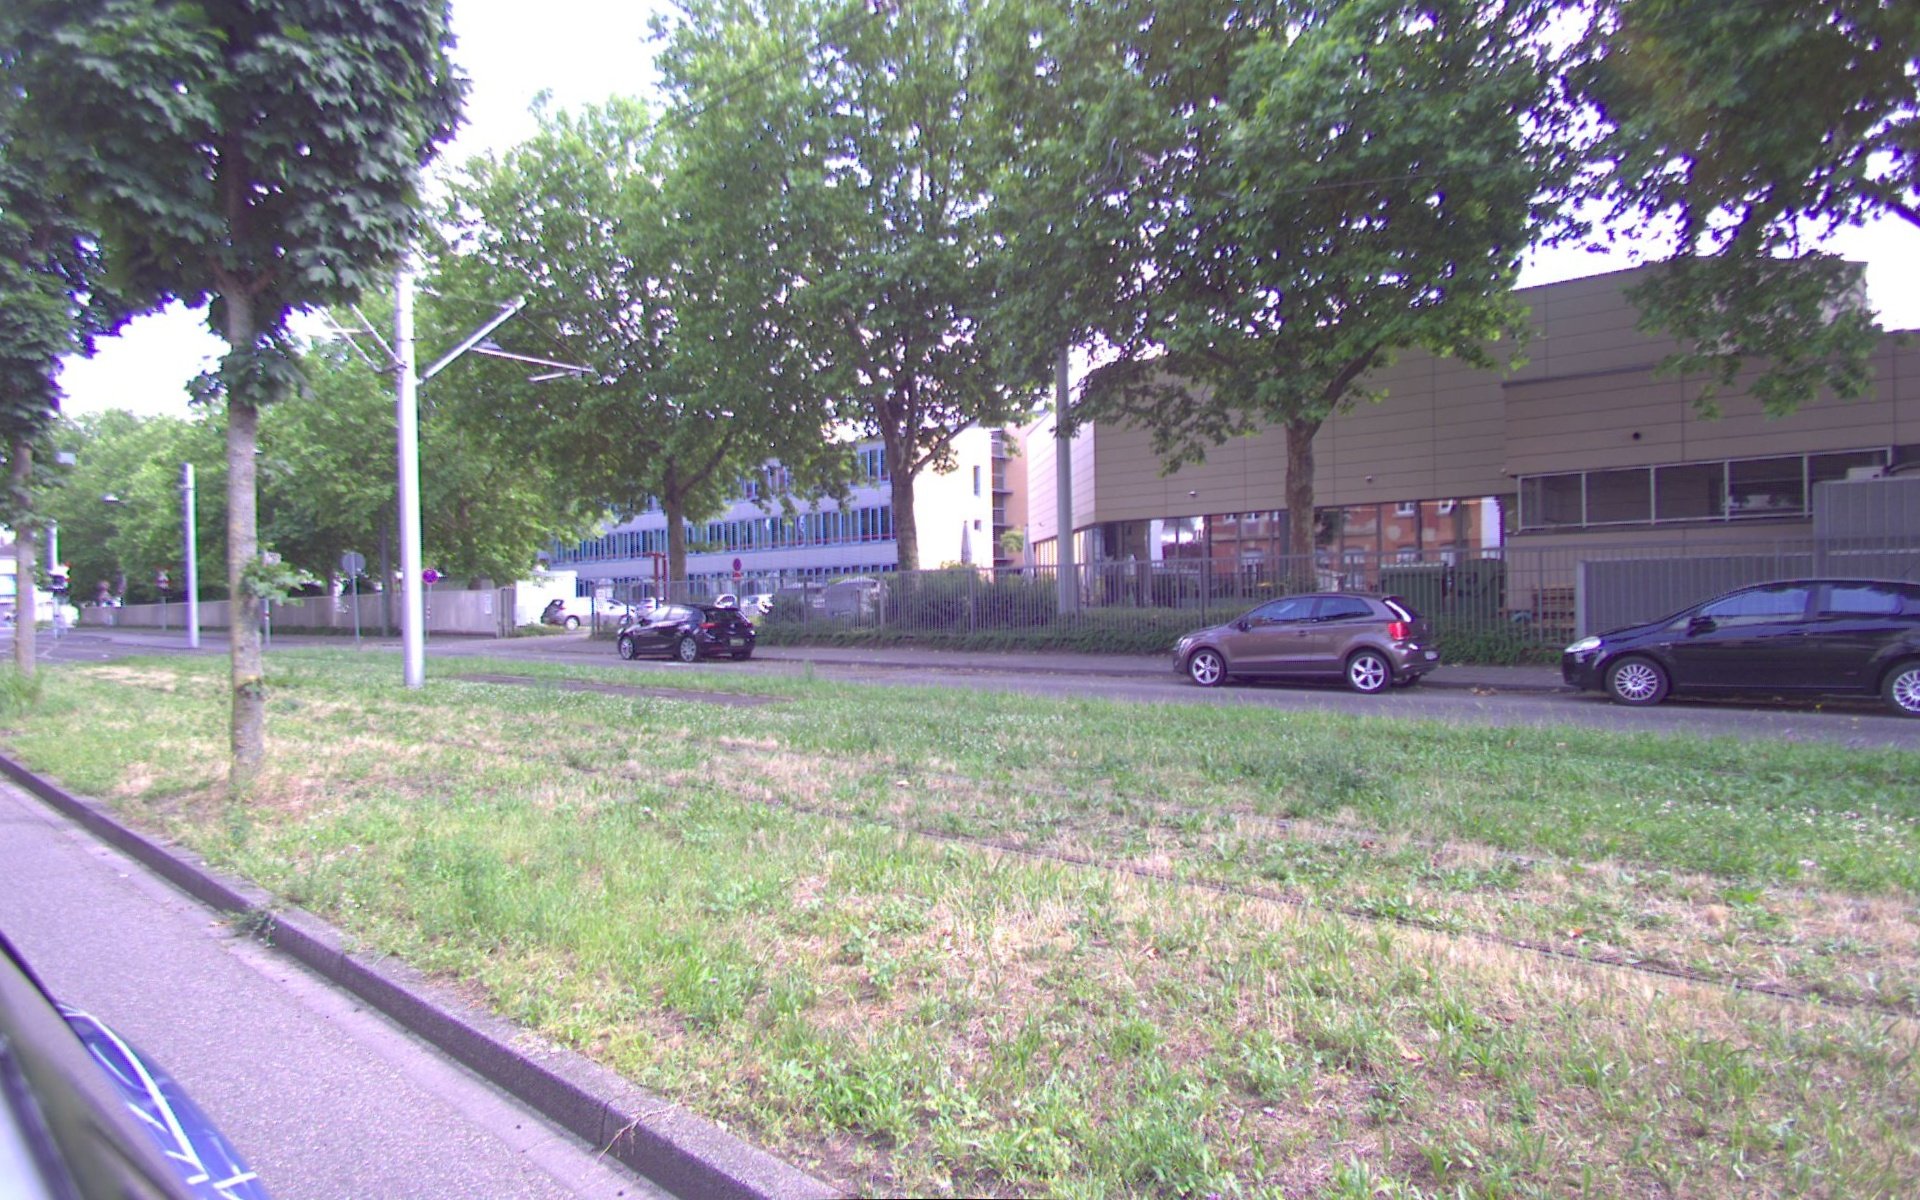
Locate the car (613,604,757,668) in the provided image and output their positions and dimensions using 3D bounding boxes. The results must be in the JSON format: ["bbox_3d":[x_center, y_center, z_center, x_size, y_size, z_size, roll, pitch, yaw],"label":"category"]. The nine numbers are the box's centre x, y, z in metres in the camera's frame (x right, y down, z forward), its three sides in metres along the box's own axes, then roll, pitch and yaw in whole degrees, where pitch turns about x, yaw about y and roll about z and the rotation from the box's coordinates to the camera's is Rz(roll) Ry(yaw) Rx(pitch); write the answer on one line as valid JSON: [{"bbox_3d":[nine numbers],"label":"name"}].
[{"bbox_3d":[-6.985,0.871,25.509,3.999,1.475,1.580,-1,0,42],"label":"car"}]

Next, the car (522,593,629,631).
[{"bbox_3d":[-16.993,0.515,44.845,1.998,1.630,3.948,-1,0,38],"label":"car"}]

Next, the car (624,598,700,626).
[{"bbox_3d":[-17.783,0.689,60.587,1.998,1.630,3.948,-1,0,38],"label":"car"}]

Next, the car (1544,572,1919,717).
[{"bbox_3d":[9.306,0.455,11.816,4.000,1.464,1.783,-1,0,43],"label":"car"}]

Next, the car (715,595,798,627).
[{"bbox_3d":[-10.722,0.570,53.470,1.998,1.630,3.948,-1,0,38],"label":"car"}]

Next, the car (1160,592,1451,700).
[{"bbox_3d":[5.159,0.643,15.394,3.899,1.436,1.538,-1,0,40],"label":"car"}]
